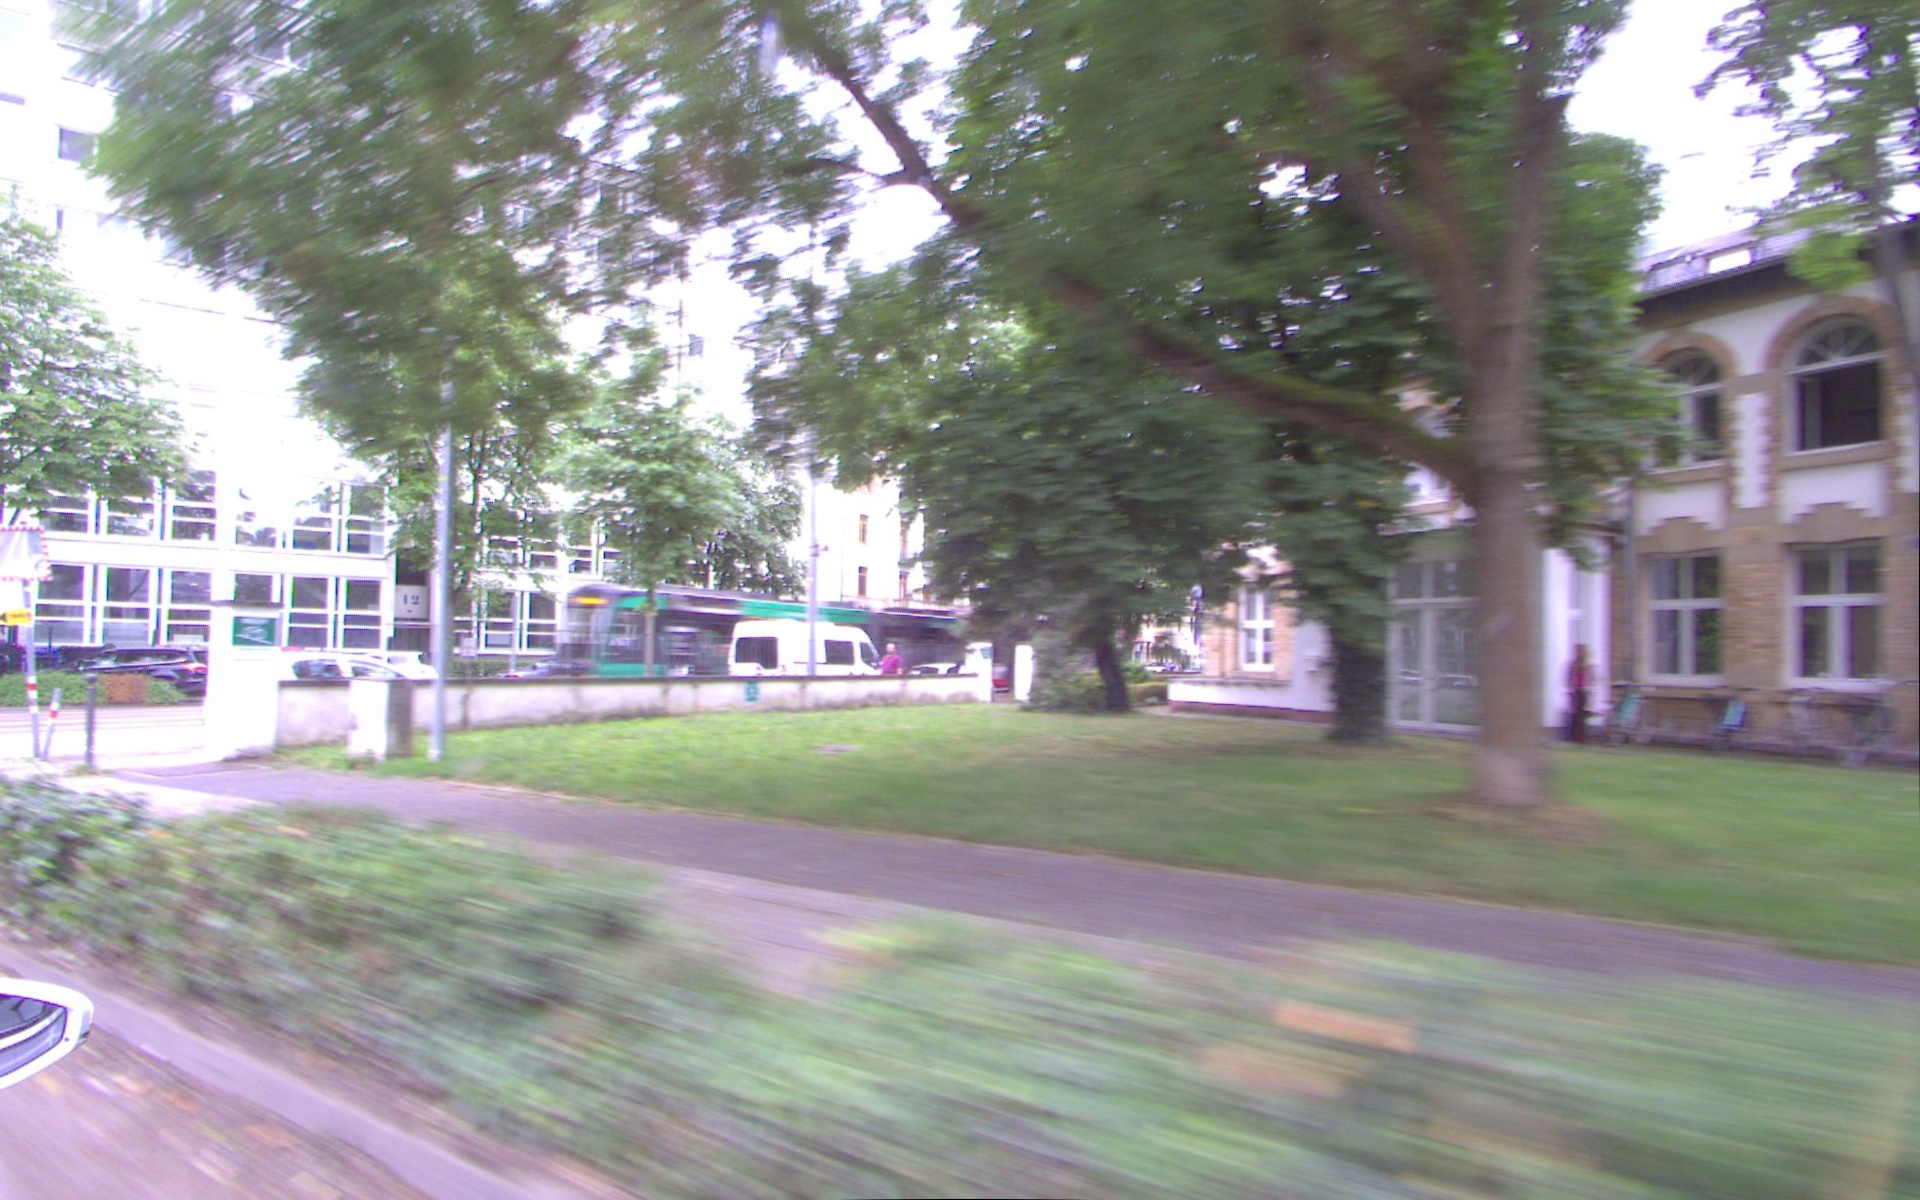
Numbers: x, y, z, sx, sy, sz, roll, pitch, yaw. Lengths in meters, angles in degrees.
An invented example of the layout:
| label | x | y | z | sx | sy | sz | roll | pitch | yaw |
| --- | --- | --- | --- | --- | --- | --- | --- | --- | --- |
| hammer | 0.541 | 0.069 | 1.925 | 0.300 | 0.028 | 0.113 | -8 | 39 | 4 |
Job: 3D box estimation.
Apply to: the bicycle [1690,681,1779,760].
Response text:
| label | x | y | z | sx | sy | sz | roll | pitch | yaw |
| --- | --- | --- | --- | --- | --- | --- | --- | --- | --- |
| bicycle | 11.847 | 1.815 | 15.300 | 1.720 | 1.128 | 0.458 | 3 | -2 | -30 |

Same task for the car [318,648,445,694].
| label | x | y | z | sx | sy | sz | roll | pitch | yaw |
| --- | --- | --- | --- | --- | --- | --- | --- | --- | --- |
| car | -19.090 | 2.337 | 33.182 | 3.328 | 1.492 | 1.416 | 1 | -2 | -13 |

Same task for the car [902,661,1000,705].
| label | x | y | z | sx | sy | sz | roll | pitch | yaw |
| --- | --- | --- | --- | --- | --- | --- | --- | --- | --- |
| car | -0.237 | 2.784 | 34.188 | 1.784 | 1.371 | 3.799 | -1 | -3 | 28 |

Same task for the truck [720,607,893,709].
| label | x | y | z | sx | sy | sz | roll | pitch | yaw |
| --- | --- | --- | --- | --- | --- | --- | --- | --- | --- |
| truck | -4.140 | 1.600 | 27.940 | 2.138 | 2.577 | 4.907 | -1 | -3 | 31 |

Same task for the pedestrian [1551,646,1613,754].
| label | x | y | z | sx | sy | sz | roll | pitch | yaw |
| --- | --- | --- | --- | --- | --- | --- | --- | --- | --- |
| pedestrian | 9.588 | 1.518 | 15.435 | 0.596 | 1.607 | 0.624 | 2 | -2 | -32 |

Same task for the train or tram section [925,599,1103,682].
| label | x | y | z | sx | sy | sz | roll | pitch | yaw |
| --- | --- | --- | --- | --- | --- | --- | --- | --- | --- |
| train or tram section | 3.299 | 2.168 | 51.494 | 2.629 | 3.659 | 14.709 | 0 | -3 | 31 |

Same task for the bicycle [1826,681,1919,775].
| label | x | y | z | sx | sy | sz | roll | pitch | yaw |
| --- | --- | --- | --- | --- | --- | --- | --- | --- | --- |
| bicycle | 12.698 | 1.747 | 13.901 | 1.719 | 1.129 | 0.458 | -1 | 0 | -30 |

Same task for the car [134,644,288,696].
| label | x | y | z | sx | sy | sz | roll | pitch | yaw |
| --- | --- | --- | --- | --- | --- | --- | --- | --- | --- |
| car | -22.240 | 2.075 | 29.840 | 3.328 | 1.492 | 1.416 | 1 | -2 | -13 |

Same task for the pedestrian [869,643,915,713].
| label | x | y | z | sx | sy | sz | roll | pitch | yaw |
| --- | --- | --- | --- | --- | --- | --- | --- | --- | --- |
| pedestrian | -1.745 | 2.001 | 25.861 | 0.795 | 1.740 | 0.953 | 0 | -2 | 24 |

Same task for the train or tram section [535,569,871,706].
| label | x | y | z | sx | sy | sz | roll | pitch | yaw |
| --- | --- | --- | --- | --- | --- | --- | --- | --- | --- |
| train or tram section | -7.635 | 1.300 | 32.784 | 2.629 | 3.659 | 12.405 | 0 | -3 | 31 |

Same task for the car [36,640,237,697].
| label | x | y | z | sx | sy | sz | roll | pitch | yaw |
| --- | --- | --- | --- | --- | --- | --- | --- | --- | --- |
| car | -22.539 | 1.865 | 27.582 | 3.884 | 1.492 | 1.671 | 1 | -2 | -17 |

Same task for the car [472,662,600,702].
| label | x | y | z | sx | sy | sz | roll | pitch | yaw |
| --- | --- | --- | --- | --- | --- | --- | --- | --- | --- |
| car | -16.322 | 3.189 | 38.768 | 4.419 | 1.491 | 1.416 | 1 | -5 | -17 |

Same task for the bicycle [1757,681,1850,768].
| label | x | y | z | sx | sy | sz | roll | pitch | yaw |
| --- | --- | --- | --- | --- | --- | --- | --- | --- | --- |
| bicycle | 12.291 | 1.781 | 14.584 | 1.719 | 1.129 | 0.458 | 0 | -1 | -30 |

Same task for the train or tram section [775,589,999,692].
| label | x | y | z | sx | sy | sz | roll | pitch | yaw |
| --- | --- | --- | --- | --- | --- | --- | --- | --- | --- |
| train or tram section | -2.496 | 1.753 | 41.562 | 2.629 | 3.659 | 12.405 | 0 | -3 | 31 |

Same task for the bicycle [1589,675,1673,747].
| label | x | y | z | sx | sy | sz | roll | pitch | yaw |
| --- | --- | --- | --- | --- | --- | --- | --- | --- | --- |
| bicycle | 11.240 | 1.837 | 16.753 | 1.720 | 1.128 | 0.458 | 3 | -2 | -30 |

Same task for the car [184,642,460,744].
| label | x | y | z | sx | sy | sz | roll | pitch | yaw |
| --- | --- | --- | --- | --- | --- | --- | --- | --- | --- |
| car | -10.706 | 1.517 | 17.042 | 1.641 | 1.519 | 3.579 | -1 | -3 | 31 |
